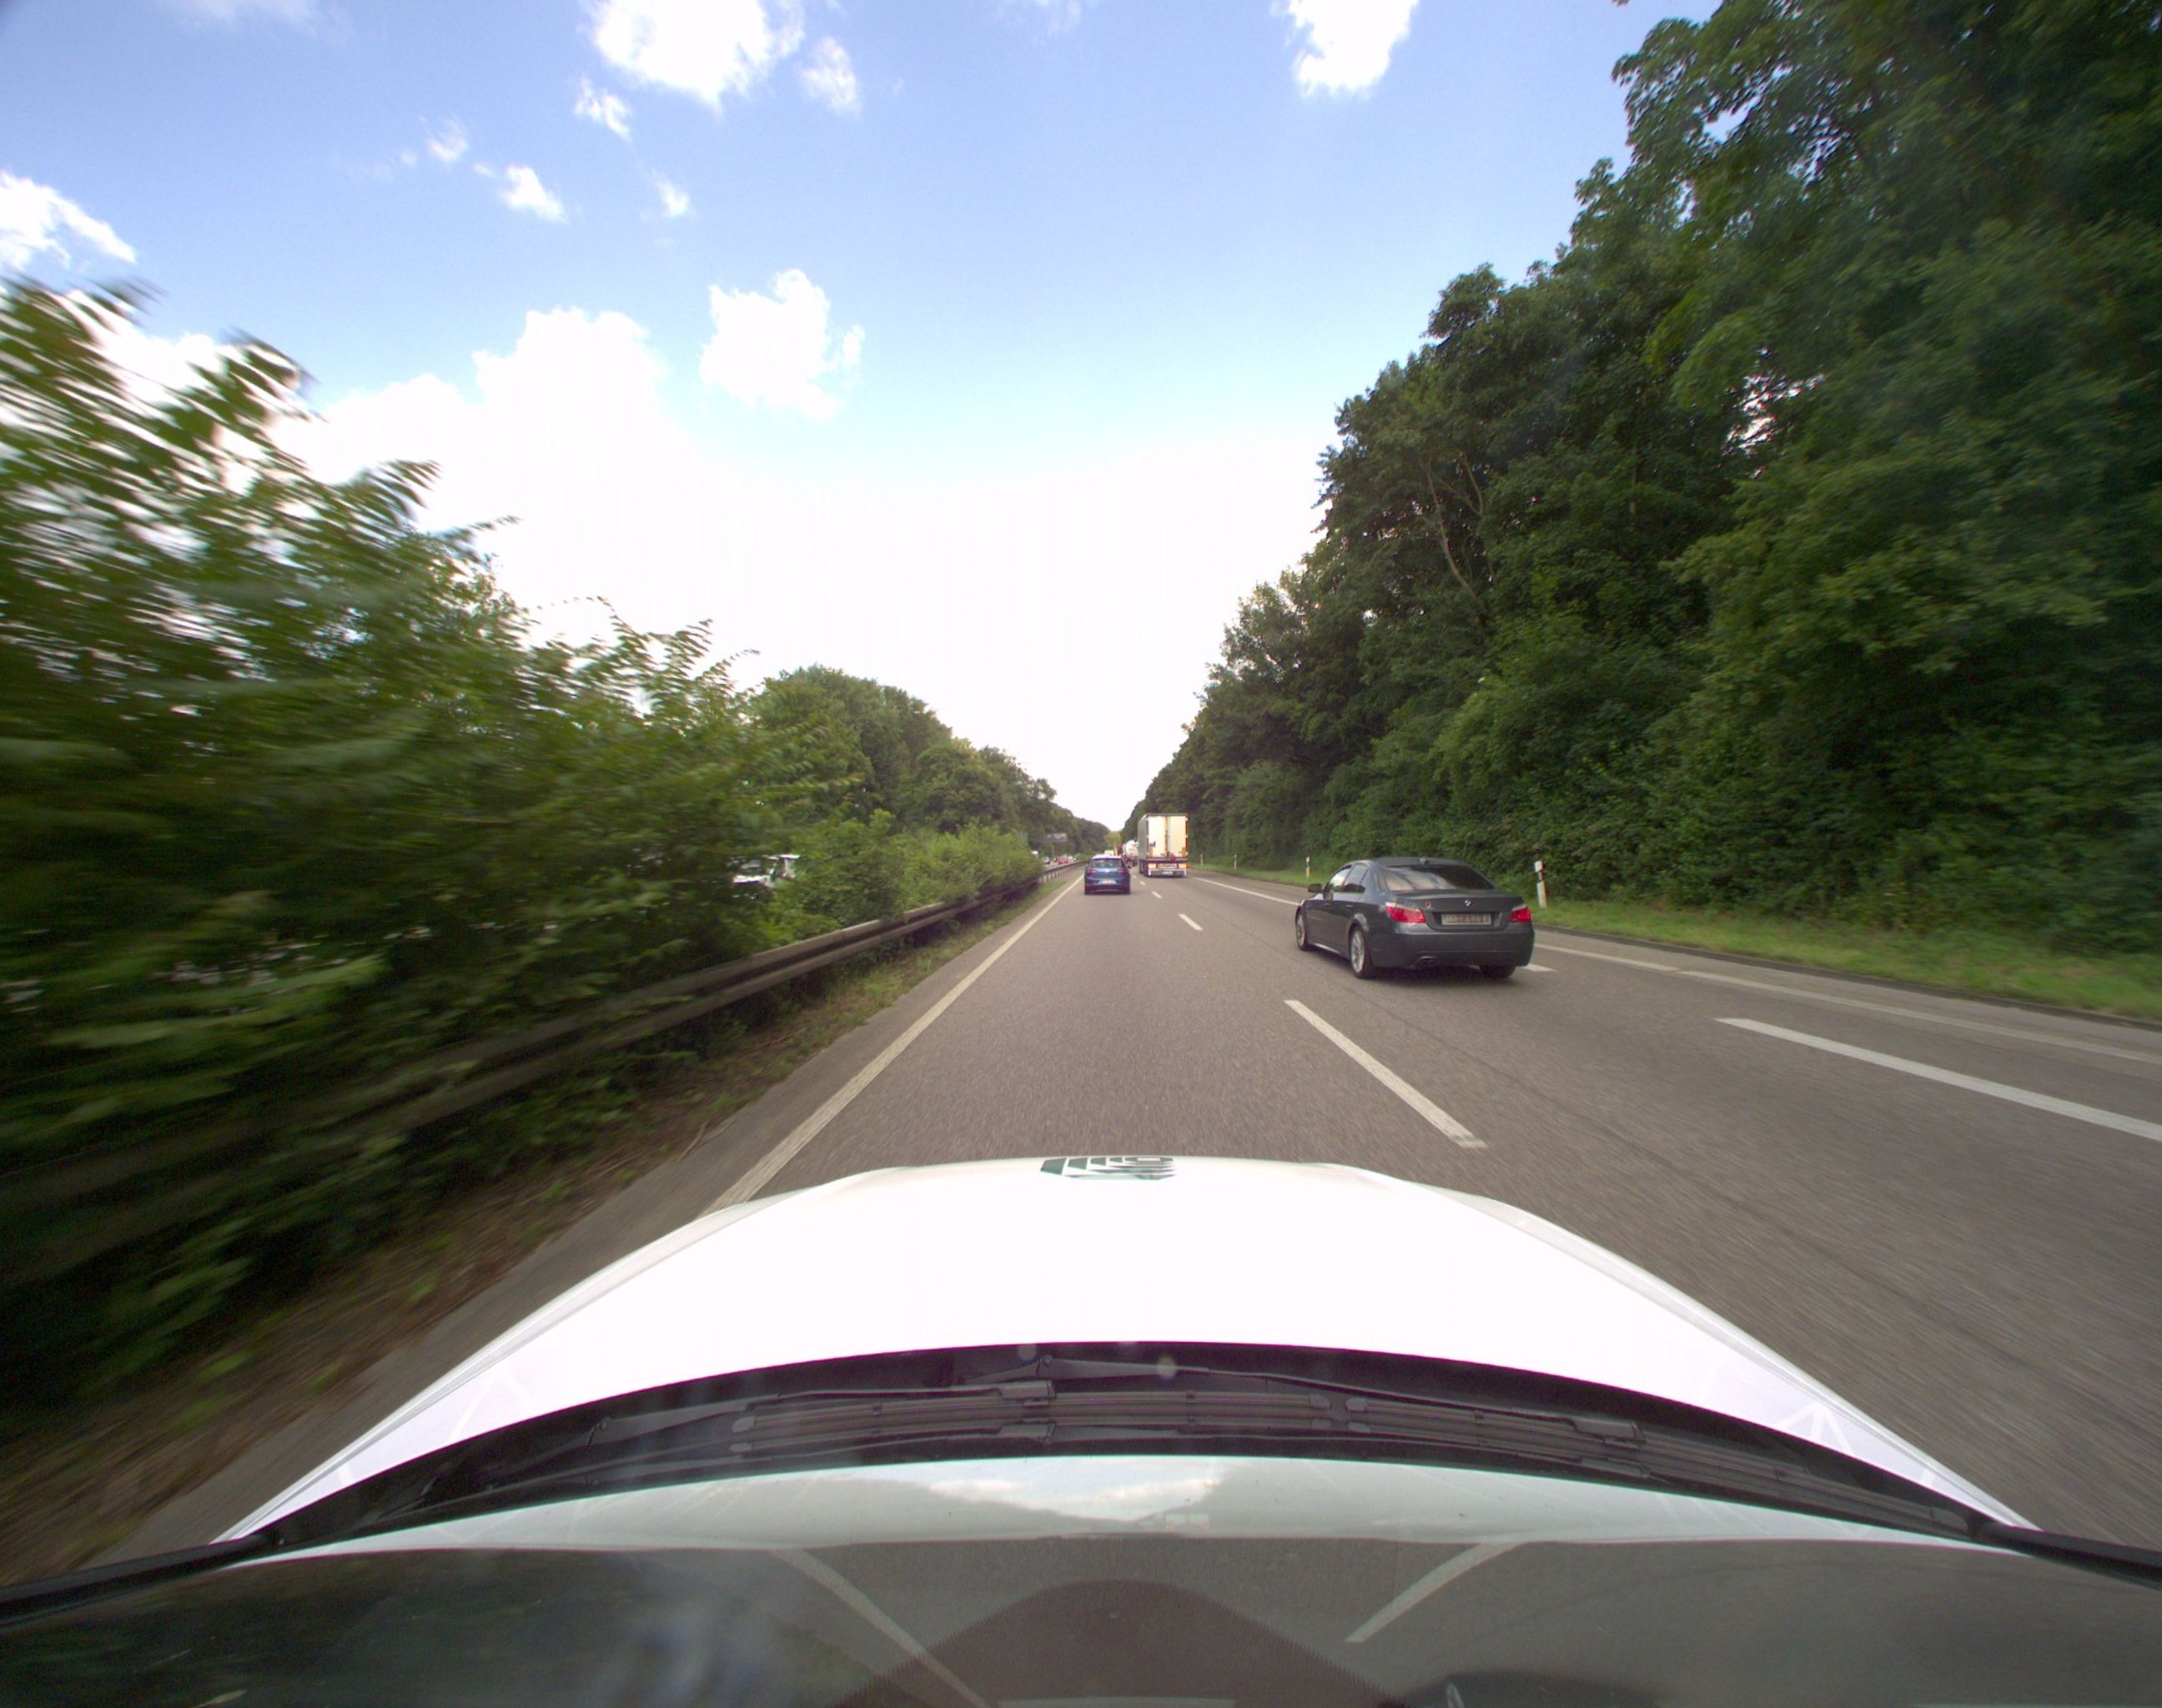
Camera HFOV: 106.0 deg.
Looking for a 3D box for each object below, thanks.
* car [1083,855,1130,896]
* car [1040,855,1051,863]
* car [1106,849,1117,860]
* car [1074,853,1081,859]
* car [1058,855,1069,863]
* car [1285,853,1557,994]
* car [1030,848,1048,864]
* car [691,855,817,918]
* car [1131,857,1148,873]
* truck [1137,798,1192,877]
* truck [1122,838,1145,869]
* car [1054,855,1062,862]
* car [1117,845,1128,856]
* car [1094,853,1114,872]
[{"bbox_3d":[0.989,0.784,31.794,1.699,1.470,4.001,-1,0,1],"label":"car"},{"bbox_3d":[-6.800,0.975,156.598,1.778,1.478,4.573,-2,0,3],"label":"car"},{"bbox_3d":[6.434,0.023,171.495,1.987,2.255,4.440,-2,0,-1],"label":"car"},{"bbox_3d":[-0.978,0.556,214.209,1.774,1.519,4.267,-2,0,1],"label":"car"},{"bbox_3d":[-3.193,0.959,149.511,1.671,1.454,4.130,-1,0,3],"label":"car"},{"bbox_3d":[4.207,0.733,11.052,1.768,1.475,4.882,-1,0,2],"label":"car"},{"bbox_3d":[-6.648,0.346,128.955,2.102,2.423,5.835,-2,0,3],"label":"car"},{"bbox_3d":[-11.322,1.048,28.687,1.986,1.929,5.538,-2,0,2],"label":"car"},{"bbox_3d":[6.875,1.281,95.835,1.881,1.729,4.002,-2,0,2],"label":"car"},{"bbox_3d":[5.501,-1.059,55.279,3.227,4.716,11.019,-2,0,4],"label":"truck"},{"bbox_3d":[7.814,-0.086,123.348,3.219,4.386,12.979,-1,-1,3],"label":"truck"},{"bbox_3d":[-5.690,1.058,200.087,1.673,1.519,4.860,-2,0,1],"label":"car"},{"bbox_3d":[9.266,-0.809,182.907,1.987,2.327,4.441,-2,0,-1],"label":"car"},{"bbox_3d":[1.969,0.691,69.380,1.659,1.500,4.154,-1,0,2],"label":"car"}]
